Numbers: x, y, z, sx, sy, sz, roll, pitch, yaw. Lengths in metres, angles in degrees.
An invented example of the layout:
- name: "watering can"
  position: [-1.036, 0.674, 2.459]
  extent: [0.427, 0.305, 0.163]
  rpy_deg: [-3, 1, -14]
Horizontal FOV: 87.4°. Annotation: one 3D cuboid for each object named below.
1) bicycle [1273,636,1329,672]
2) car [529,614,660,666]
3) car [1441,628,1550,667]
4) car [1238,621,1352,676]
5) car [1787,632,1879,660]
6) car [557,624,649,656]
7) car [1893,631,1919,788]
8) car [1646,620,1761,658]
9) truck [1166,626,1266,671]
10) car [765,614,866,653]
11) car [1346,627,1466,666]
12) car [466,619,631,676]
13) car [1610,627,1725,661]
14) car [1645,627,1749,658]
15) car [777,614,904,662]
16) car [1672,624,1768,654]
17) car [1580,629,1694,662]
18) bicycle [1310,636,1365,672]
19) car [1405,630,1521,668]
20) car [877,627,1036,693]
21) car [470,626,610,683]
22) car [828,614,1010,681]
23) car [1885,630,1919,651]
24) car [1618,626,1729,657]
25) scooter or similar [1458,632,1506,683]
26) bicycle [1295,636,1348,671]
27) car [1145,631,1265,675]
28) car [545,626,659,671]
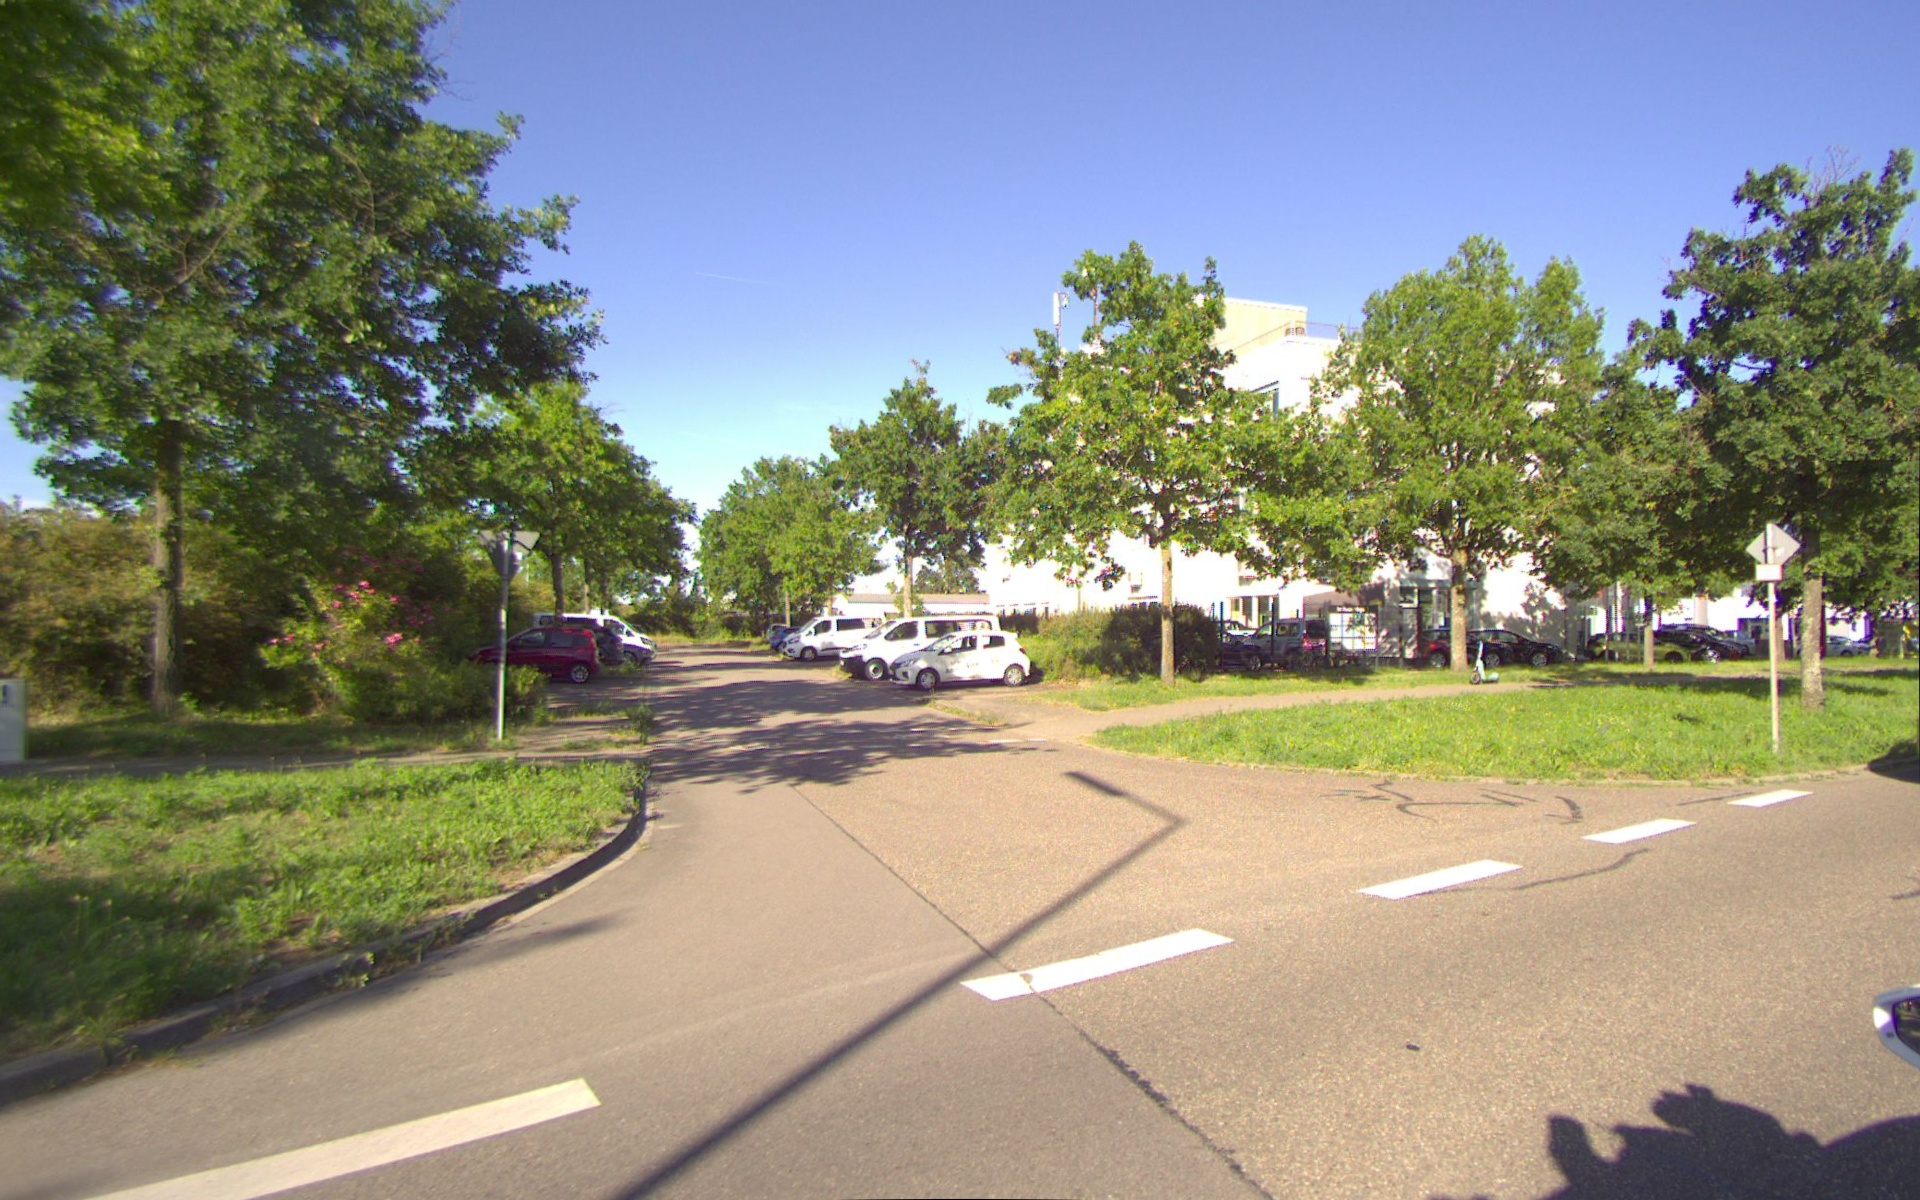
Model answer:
- name: "bicycle"
  position: [10.818, 1.713, 31.887]
  extent: [1.869, 1.102, 0.636]
  rpy_deg: [1, -2, -31]
- name: "car"
  position: [-14.732, 1.601, 40.821]
  extent: [4.801, 2.040, 1.994]
  rpy_deg: [1, -1, -15]
- name: "car"
  position: [22.480, 1.981, 42.203]
  extent: [3.929, 1.531, 1.797]
  rpy_deg: [-1, -1, 31]
- name: "car"
  position: [12.337, 1.745, 37.297]
  extent: [1.994, 1.807, 4.013]
  rpy_deg: [1, 0, -19]
- name: "car"
  position: [52.163, 2.731, 60.104]
  extent: [1.931, 1.639, 3.743]
  rpy_deg: [1, -2, -15]
- name: "car"
  position: [-20.361, 2.271, 57.515]
  extent: [4.801, 1.797, 1.994]
  rpy_deg: [1, -1, -15]
- name: "car"
  position: [11.771, 1.078, 10.558]
  extent: [4.446, 1.557, 1.795]
  rpy_deg: [1, -3, -33]
- name: "car"
  position: [41.575, 2.177, 56.331]
  extent: [4.762, 2.040, 2.001]
  rpy_deg: [0, -1, 18]
- name: "truck"
  position: [10.675, 1.973, 42.262]
  extent: [2.054, 1.646, 4.615]
  rpy_deg: [1, 0, -16]
- name: "car"
  position: [-8.434, 1.930, 58.614]
  extent: [5.433, 1.954, 2.361]
  rpy_deg: [-2, -1, -19]
- name: "car"
  position: [17.026, 1.759, 38.529]
  extent: [3.919, 1.467, 1.802]
  rpy_deg: [0, -2, 12]
- name: "car"
  position: [-13.549, 1.553, 33.393]
  extent: [4.801, 1.808, 1.994]
  rpy_deg: [1, -1, -15]
- name: "car"
  position: [33.493, 2.061, 47.688]
  extent: [4.087, 1.558, 1.897]
  rpy_deg: [-1, -2, 18]
- name: "car"
  position: [38.280, 2.178, 52.318]
  extent: [4.094, 1.583, 1.997]
  rpy_deg: [-1, -2, 28]
- name: "car"
  position: [-5.549, 1.718, 46.577]
  extent: [5.433, 1.954, 2.361]
  rpy_deg: [-2, -1, -19]
- name: "car"
  position: [50.210, 2.560, 66.505]
  extent: [1.908, 1.931, 5.013]
  rpy_deg: [0, -2, -14]
- name: "car"
  position: [30.861, 2.049, 45.910]
  extent: [3.875, 1.420, 2.001]
  rpy_deg: [-1, -2, 18]
- name: "bicycle"
  position: [12.161, 1.729, 32.338]
  extent: [1.869, 1.102, 0.636]
  rpy_deg: [1, -2, -31]
- name: "car"
  position: [20.122, 1.925, 40.366]
  extent: [3.920, 1.467, 1.802]
  rpy_deg: [0, -2, 17]
- name: "car"
  position: [-0.117, 1.582, 27.230]
  extent: [3.856, 1.524, 1.992]
  rpy_deg: [-2, -1, -19]
- name: "car"
  position: [-11.818, 1.540, 28.508]
  extent: [3.497, 1.524, 1.798]
  rpy_deg: [2, -2, -19]
- name: "car"
  position: [-1.334, 1.471, 32.158]
  extent: [5.357, 1.841, 2.299]
  rpy_deg: [-2, -1, -19]
- name: "car"
  position: [69.006, 2.857, 71.312]
  extent: [1.915, 1.499, 4.486]
  rpy_deg: [1, -2, -26]
- name: "car"
  position: [35.547, 2.053, 50.171]
  extent: [4.088, 1.510, 2.000]
  rpy_deg: [-1, -2, 21]
- name: "scooter or similar"
  position: [13.354, 1.459, 25.690]
  extent: [1.424, 1.296, 0.393]
  rpy_deg: [1, -1, -30]
- name: "bicycle"
  position: [11.980, 1.756, 33.269]
  extent: [1.869, 1.102, 0.636]
  rpy_deg: [1, -2, -31]
- name: "car"
  position: [8.690, 1.835, 35.610]
  extent: [3.949, 1.467, 1.789]
  rpy_deg: [1, -2, -28]
- name: "car"
  position: [-13.609, 1.816, 38.150]
  extent: [3.945, 1.634, 1.989]
  rpy_deg: [1, -2, -24]
